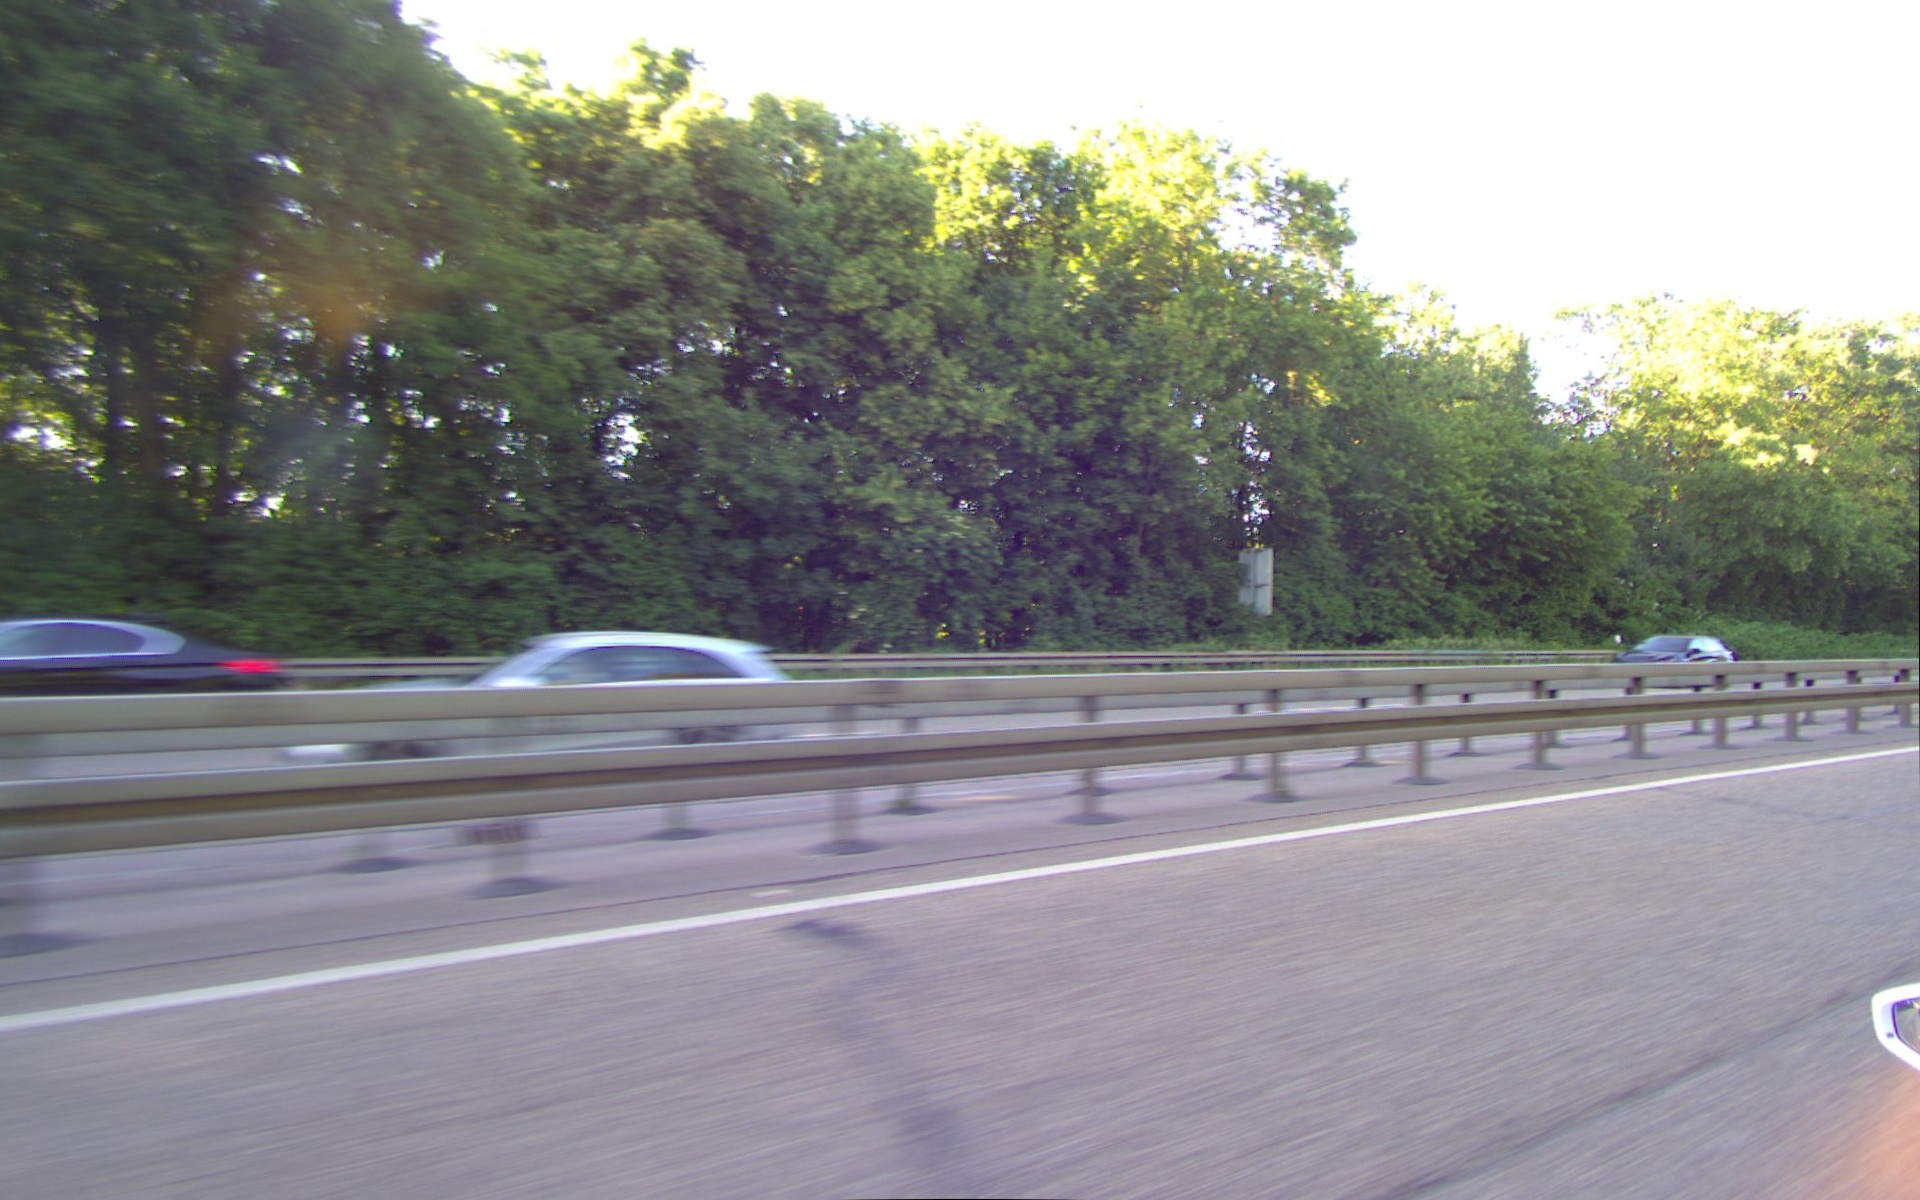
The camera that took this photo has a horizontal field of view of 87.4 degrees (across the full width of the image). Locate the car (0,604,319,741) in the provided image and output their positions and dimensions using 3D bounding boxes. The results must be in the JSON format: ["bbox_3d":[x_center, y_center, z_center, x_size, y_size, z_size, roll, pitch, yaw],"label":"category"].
[{"bbox_3d":[-10.608,0.837,11.981,4.844,1.483,1.985,1,-3,-30],"label":"car"}]

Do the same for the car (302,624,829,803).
[{"bbox_3d":[-3.909,1.030,10.390,4.684,1.483,1.985,1,-3,-30],"label":"car"}]

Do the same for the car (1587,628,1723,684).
[{"bbox_3d":[19.308,1.524,27.866,3.953,1.442,1.598,1,-1,-30],"label":"car"}]
